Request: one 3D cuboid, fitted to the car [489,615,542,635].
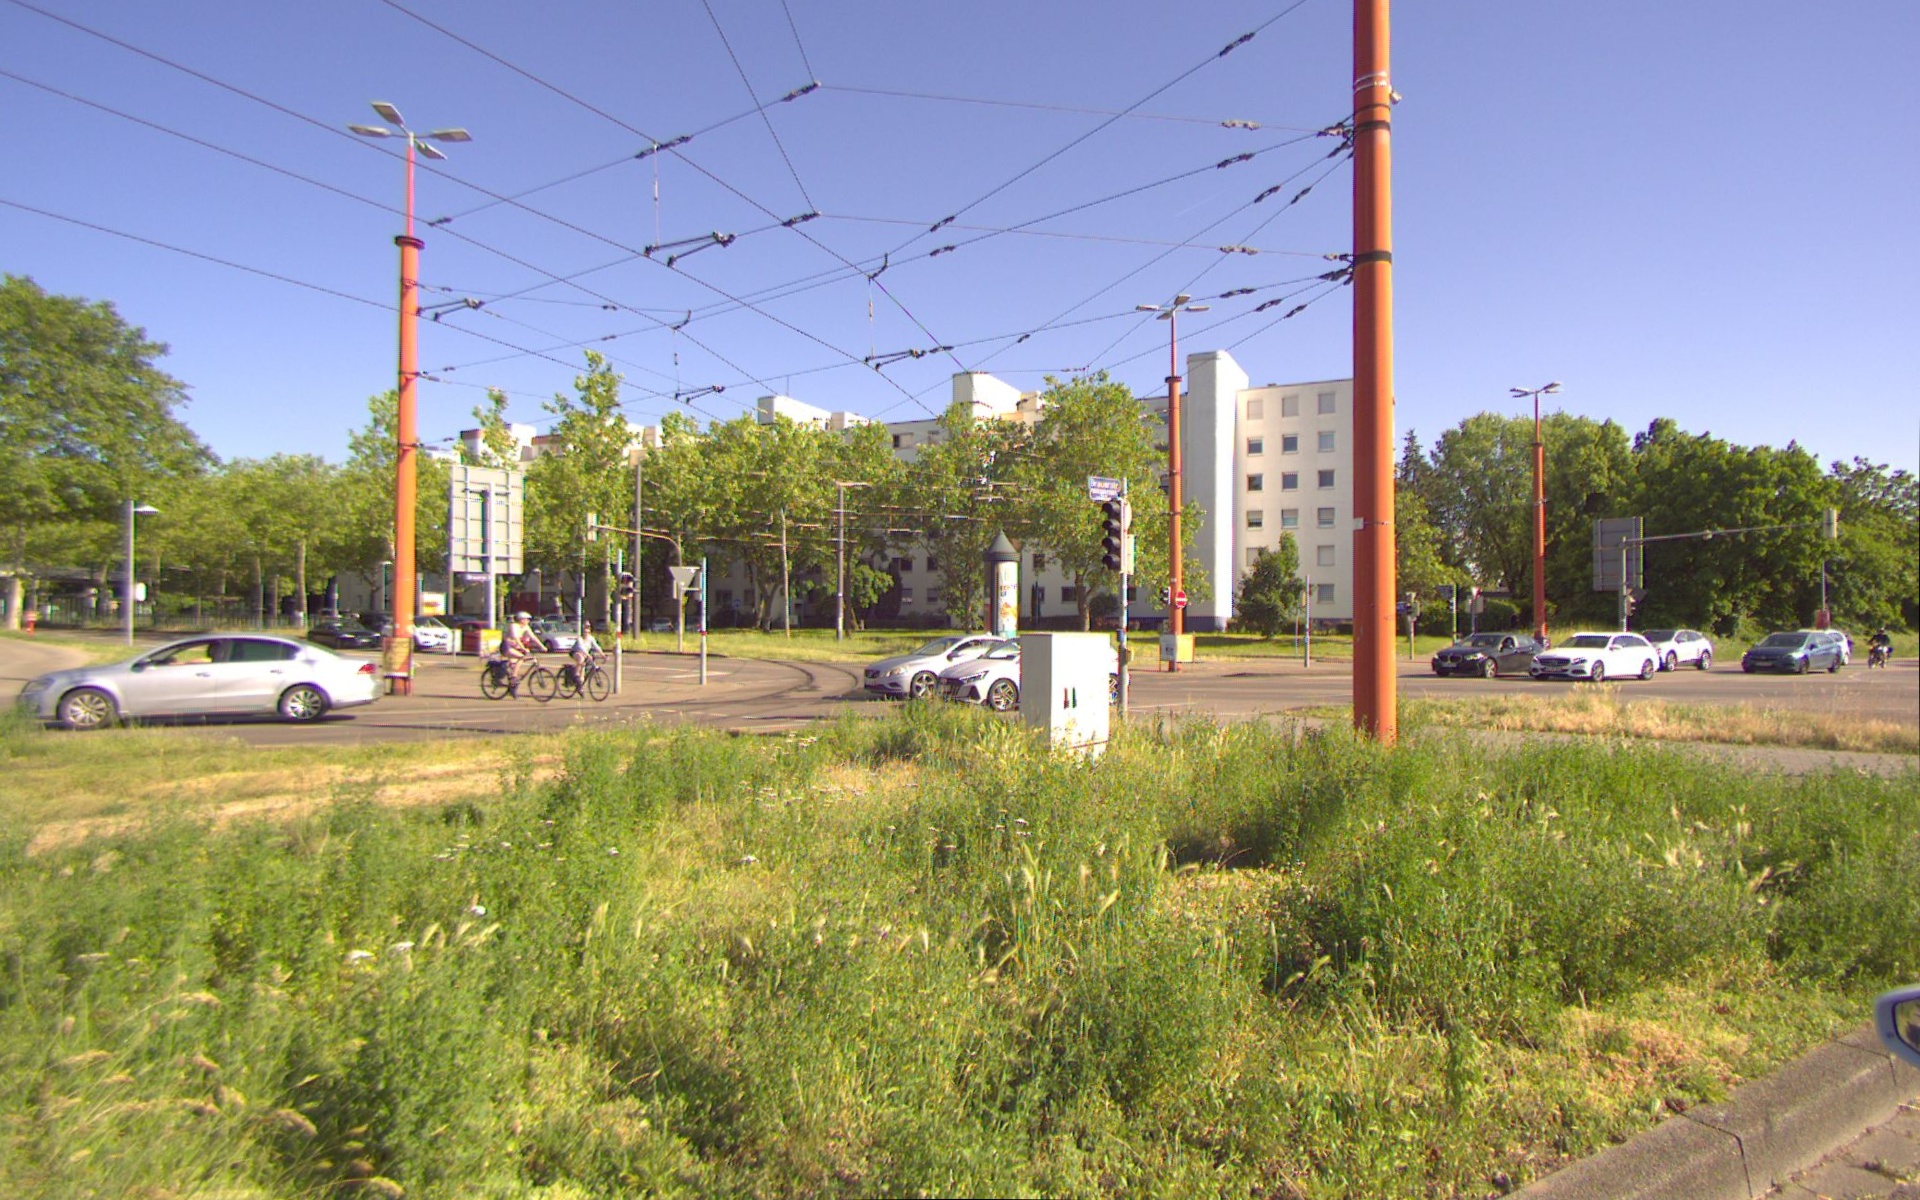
[{"bbox_3d":[-38.754,2.192,87.605,3.935,1.617,1.889,2,0,-17],"label":"car"}]

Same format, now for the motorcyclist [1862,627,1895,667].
[{"bbox_3d":[38.239,1.968,41.825,0.631,1.621,0.833,1,0,-23],"label":"motorcyclist"}]

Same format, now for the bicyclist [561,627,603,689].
[{"bbox_3d":[-8.475,1.279,22.512,0.688,1.340,0.547,1,0,31],"label":"bicyclist"}]

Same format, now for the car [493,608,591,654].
[{"bbox_3d":[-19.125,1.404,45.935,4.198,1.926,1.996,1,-1,30],"label":"car"}]

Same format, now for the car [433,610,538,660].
[{"bbox_3d":[-20.233,1.455,42.840,4.198,1.926,1.996,1,-1,30],"label":"car"}]

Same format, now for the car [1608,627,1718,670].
[{"bbox_3d":[27.747,1.910,39.620,4.383,1.622,1.831,2,-2,-29],"label":"car"}]

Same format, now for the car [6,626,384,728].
[{"bbox_3d":[-12.089,1.184,16.382,4.639,1.451,1.984,2,-2,-31],"label":"car"}]

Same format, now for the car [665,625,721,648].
[{"bbox_3d":[-19.865,2.725,74.646,3.935,1.617,1.889,2,0,-17],"label":"car"}]

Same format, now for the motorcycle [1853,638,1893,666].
[{"bbox_3d":[37.976,2.159,41.757,2.066,1.146,0.420,2,0,-24],"label":"motorcycle"}]

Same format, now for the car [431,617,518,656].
[{"bbox_3d":[-23.787,1.760,49.218,3.928,1.773,1.909,1,-1,30],"label":"car"}]

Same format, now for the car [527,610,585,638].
[{"bbox_3d":[-30.532,1.776,75.891,4.333,2.040,1.994,0,-1,34],"label":"car"}]

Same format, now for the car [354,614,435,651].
[{"bbox_3d":[-29.451,1.655,52.278,3.928,1.773,1.909,1,-1,30],"label":"car"}]

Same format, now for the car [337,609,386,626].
[{"bbox_3d":[-60.885,1.815,102.252,3.935,1.617,1.889,2,0,-17],"label":"car"}]

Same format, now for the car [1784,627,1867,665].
[{"bbox_3d":[41.102,2.172,47.682,4.012,1.730,1.792,2,-2,-30],"label":"car"}]

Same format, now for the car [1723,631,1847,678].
[{"bbox_3d":[30.031,1.935,36.541,4.408,1.615,1.986,1,-2,-29],"label":"car"}]

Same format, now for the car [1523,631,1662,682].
[{"bbox_3d":[19.405,1.670,30.760,4.589,1.441,1.695,1,-2,-31],"label":"car"}]

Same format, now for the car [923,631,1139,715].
[{"bbox_3d":[1.457,1.411,20.212,4.131,1.492,1.582,0,-2,-29],"label":"car"}]

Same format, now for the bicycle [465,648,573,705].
[{"bbox_3d":[-9.482,1.628,21.594,2.313,1.095,0.474,1,0,15],"label":"bicycle"}]

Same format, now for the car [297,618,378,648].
[{"bbox_3d":[-30.792,1.615,49.649,3.928,1.339,1.733,1,-1,30],"label":"car"}]

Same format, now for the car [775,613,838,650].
[{"bbox_3d":[-10.359,2.126,67.676,3.935,2.341,1.889,2,0,-17],"label":"car"}]

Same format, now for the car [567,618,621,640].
[{"bbox_3d":[-29.706,2.346,81.580,3.935,1.617,1.889,2,0,-17],"label":"car"}]

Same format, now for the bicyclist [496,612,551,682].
[{"bbox_3d":[-9.370,1.000,21.584,0.742,1.449,0.752,1,0,15],"label":"bicyclist"}]

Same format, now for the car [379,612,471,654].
[{"bbox_3d":[-24.726,1.505,46.409,3.928,1.773,1.909,1,-1,30],"label":"car"}]

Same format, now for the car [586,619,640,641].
[{"bbox_3d":[-27.588,2.380,79.987,3.935,1.617,1.889,2,0,-17],"label":"car"}]

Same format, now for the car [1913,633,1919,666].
[{"bbox_3d":[45.266,2.282,45.545,4.553,1.505,1.866,2,-1,-32],"label":"car"}]

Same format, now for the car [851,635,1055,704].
[{"bbox_3d":[-0.150,1.572,23.375,4.346,1.392,1.985,2,-1,-29],"label":"car"}]

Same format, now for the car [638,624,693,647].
[{"bbox_3d":[-22.400,2.684,76.564,3.935,1.617,1.889,2,0,-17],"label":"car"}]

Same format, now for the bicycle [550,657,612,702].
[{"bbox_3d":[-8.497,1.770,22.499,1.597,0.894,0.367,1,0,31],"label":"bicycle"}]

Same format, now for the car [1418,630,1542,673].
[{"bbox_3d":[17.251,1.689,33.299,3.985,1.359,1.852,2,-2,-31],"label":"car"}]

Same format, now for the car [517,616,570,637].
[{"bbox_3d":[-35.511,2.251,85.801,3.935,1.617,1.889,2,0,-17],"label":"car"}]

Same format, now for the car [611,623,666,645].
[{"bbox_3d":[-24.897,2.639,77.965,3.935,1.617,1.889,2,0,-17],"label":"car"}]
